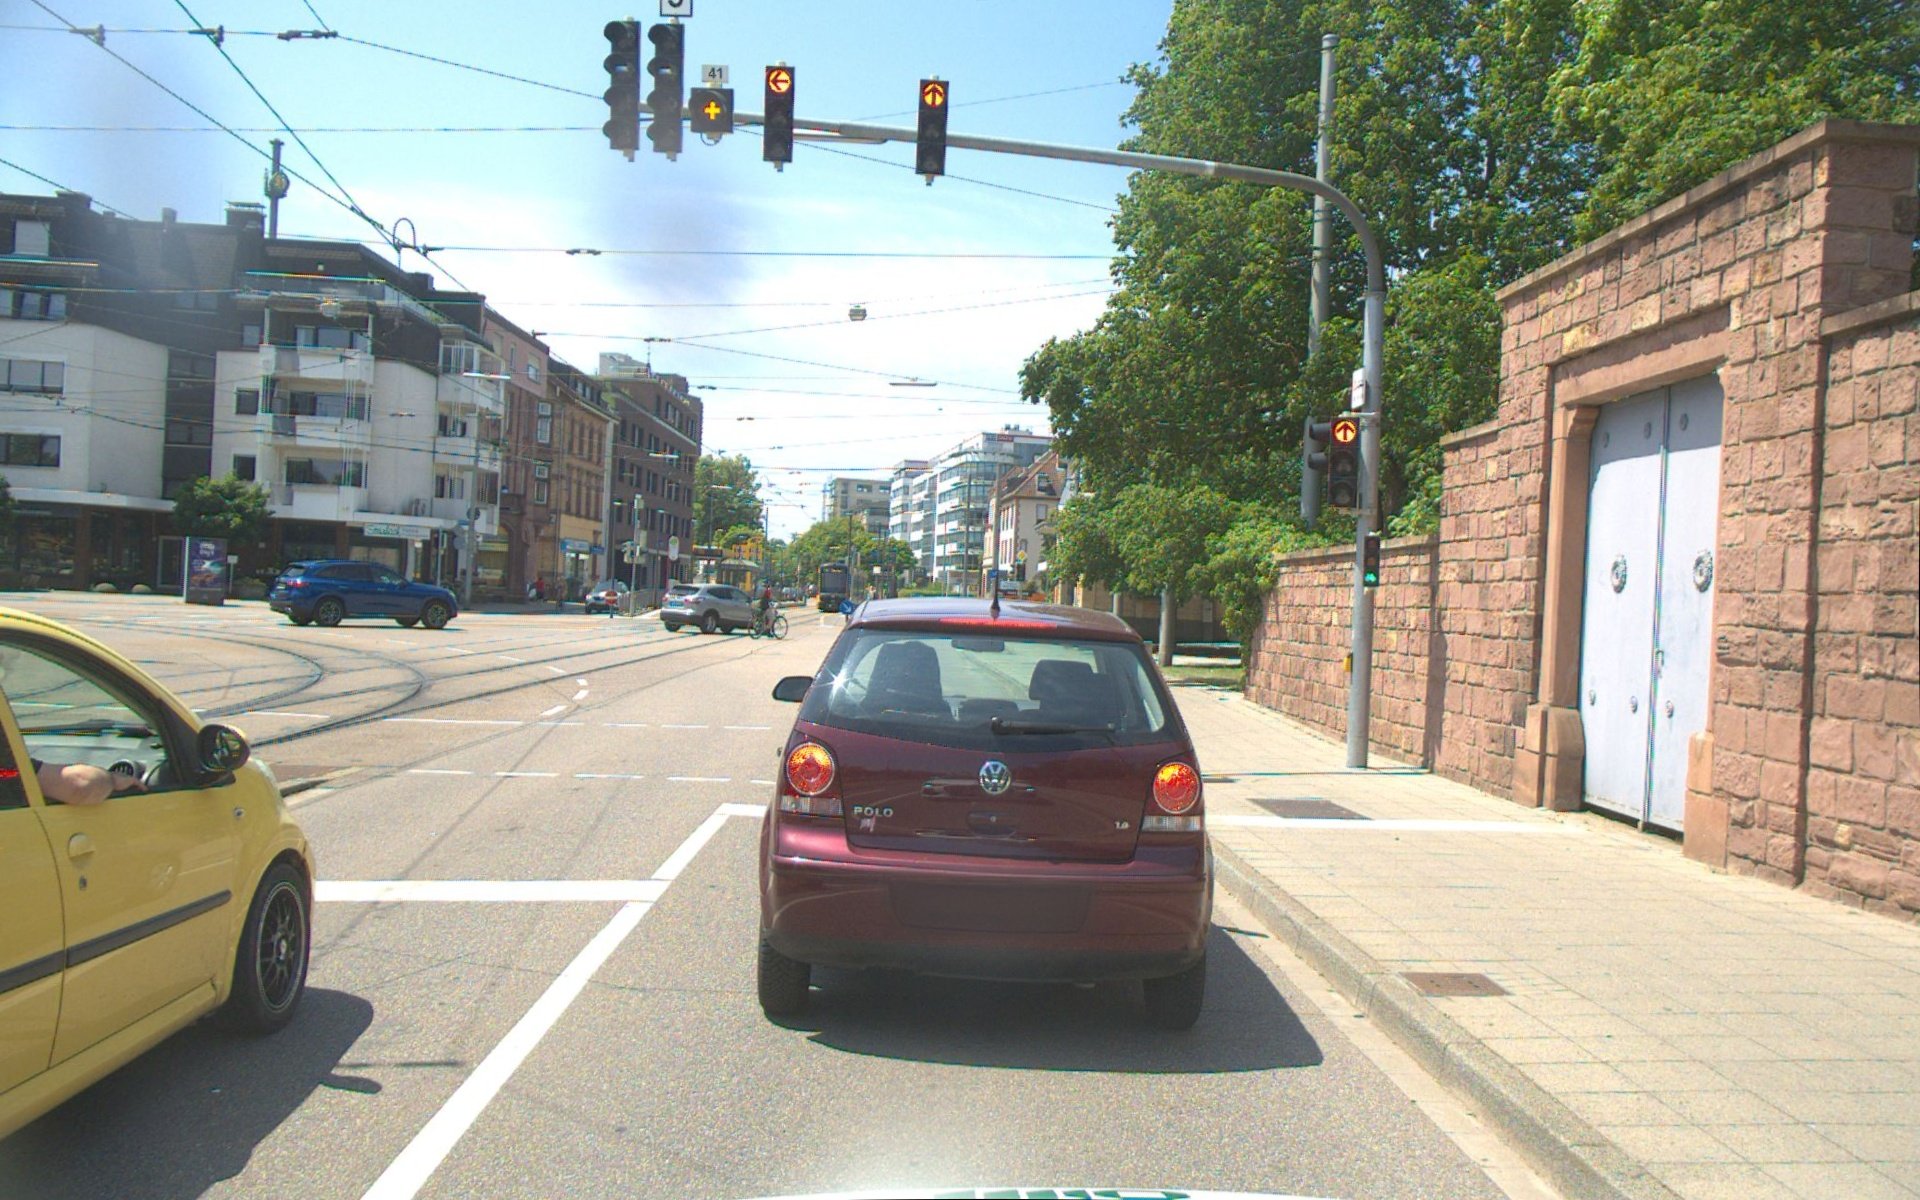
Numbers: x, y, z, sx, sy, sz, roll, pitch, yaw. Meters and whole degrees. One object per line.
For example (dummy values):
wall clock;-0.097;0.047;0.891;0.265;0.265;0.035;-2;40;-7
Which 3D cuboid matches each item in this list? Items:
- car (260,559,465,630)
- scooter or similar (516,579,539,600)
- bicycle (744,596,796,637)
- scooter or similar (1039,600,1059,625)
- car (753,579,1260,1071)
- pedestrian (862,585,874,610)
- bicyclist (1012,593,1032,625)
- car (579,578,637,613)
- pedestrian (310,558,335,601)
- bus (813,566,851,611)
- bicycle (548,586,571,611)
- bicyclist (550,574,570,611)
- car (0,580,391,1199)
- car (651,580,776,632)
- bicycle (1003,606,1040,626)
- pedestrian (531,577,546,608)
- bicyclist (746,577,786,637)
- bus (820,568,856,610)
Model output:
car;-15.478;-0.121;42.985;4.595;1.653;1.968;2;0;-44
scooter or similar;-23.916;-0.578;91.493;0.477;1.101;1.578;2;0;15
bicycle;-5.817;0.523;50.755;0.369;1.218;1.897;2;0;37
scooter or similar;4.507;0.639;83.677;0.335;1.198;1.456;2;0;-25
car;0.102;0.702;6.688;1.530;1.479;3.060;2;0;-2
pedestrian;-6.513;-0.195;116.868;0.747;1.704;1.100;2;0;-1
bicyclist;3.281;0.492;87.011;0.839;1.646;0.835;-1;1;18
car;-17.138;-0.223;80.676;1.953;1.580;4.138;2;0;-1
pedestrian;-26.206;-0.826;67.972;0.791;1.726;0.699;2;0;-12
bus;-9.239;-0.838;119.816;2.101;3.055;6.573;2;0;0
bicycle;-19.888;-0.063;82.184;0.680;1.169;1.931;2;1;-2
bicyclist;-19.891;-0.393;82.203;0.680;1.796;1.137;2;1;-2
car;-2.882;0.683;4.387;1.583;1.446;3.654;0;0;-2
car;-7.996;0.217;53.954;1.792;1.556;3.987;2;0;34
bicycle;3.238;0.820;86.994;1.818;1.020;0.671;-1;1;18
pedestrian;-21.758;-0.405;85.353;0.602;1.588;0.640;2;0;-2
bicyclist;-5.933;0.210;50.645;0.715;1.791;0.920;2;0;36
bus;-9.266;-0.811;126.403;2.187;3.055;6.593;2;0;0
